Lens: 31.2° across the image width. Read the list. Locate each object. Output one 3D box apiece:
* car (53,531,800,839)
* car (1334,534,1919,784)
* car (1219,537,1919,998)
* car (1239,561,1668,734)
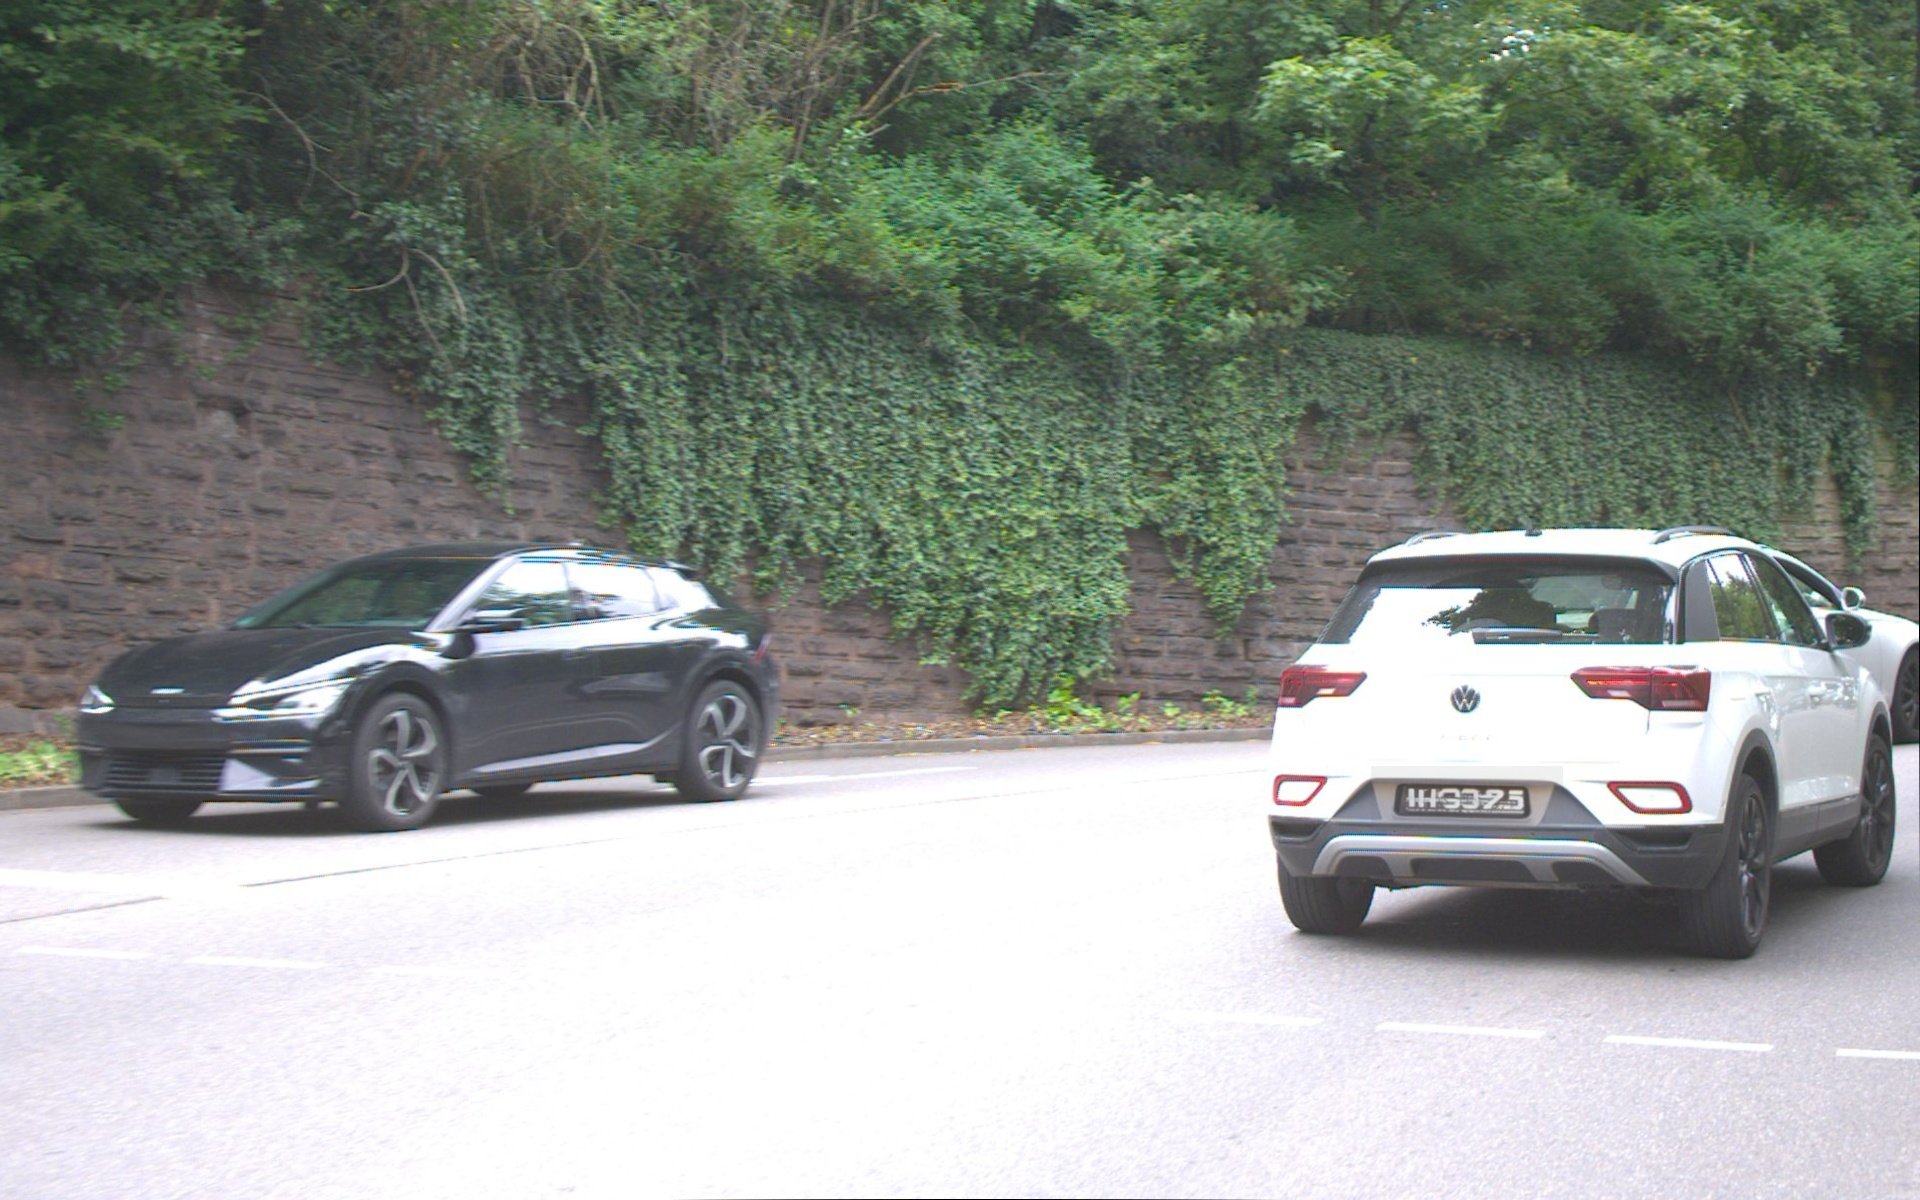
[{"bbox_3d":[-2.867,0.416,19.430,1.634,1.538,4.389,-1,0,33],"label":"car"},{"bbox_3d":[4.757,0.334,23.420,1.870,1.529,4.764,1,1,44],"label":"car"},{"bbox_3d":[2.645,0.538,14.008,1.757,1.547,4.332,1,1,25],"label":"car"},{"bbox_3d":[4.330,0.403,29.914,3.743,1.413,1.611,0,-1,-40],"label":"car"}]
